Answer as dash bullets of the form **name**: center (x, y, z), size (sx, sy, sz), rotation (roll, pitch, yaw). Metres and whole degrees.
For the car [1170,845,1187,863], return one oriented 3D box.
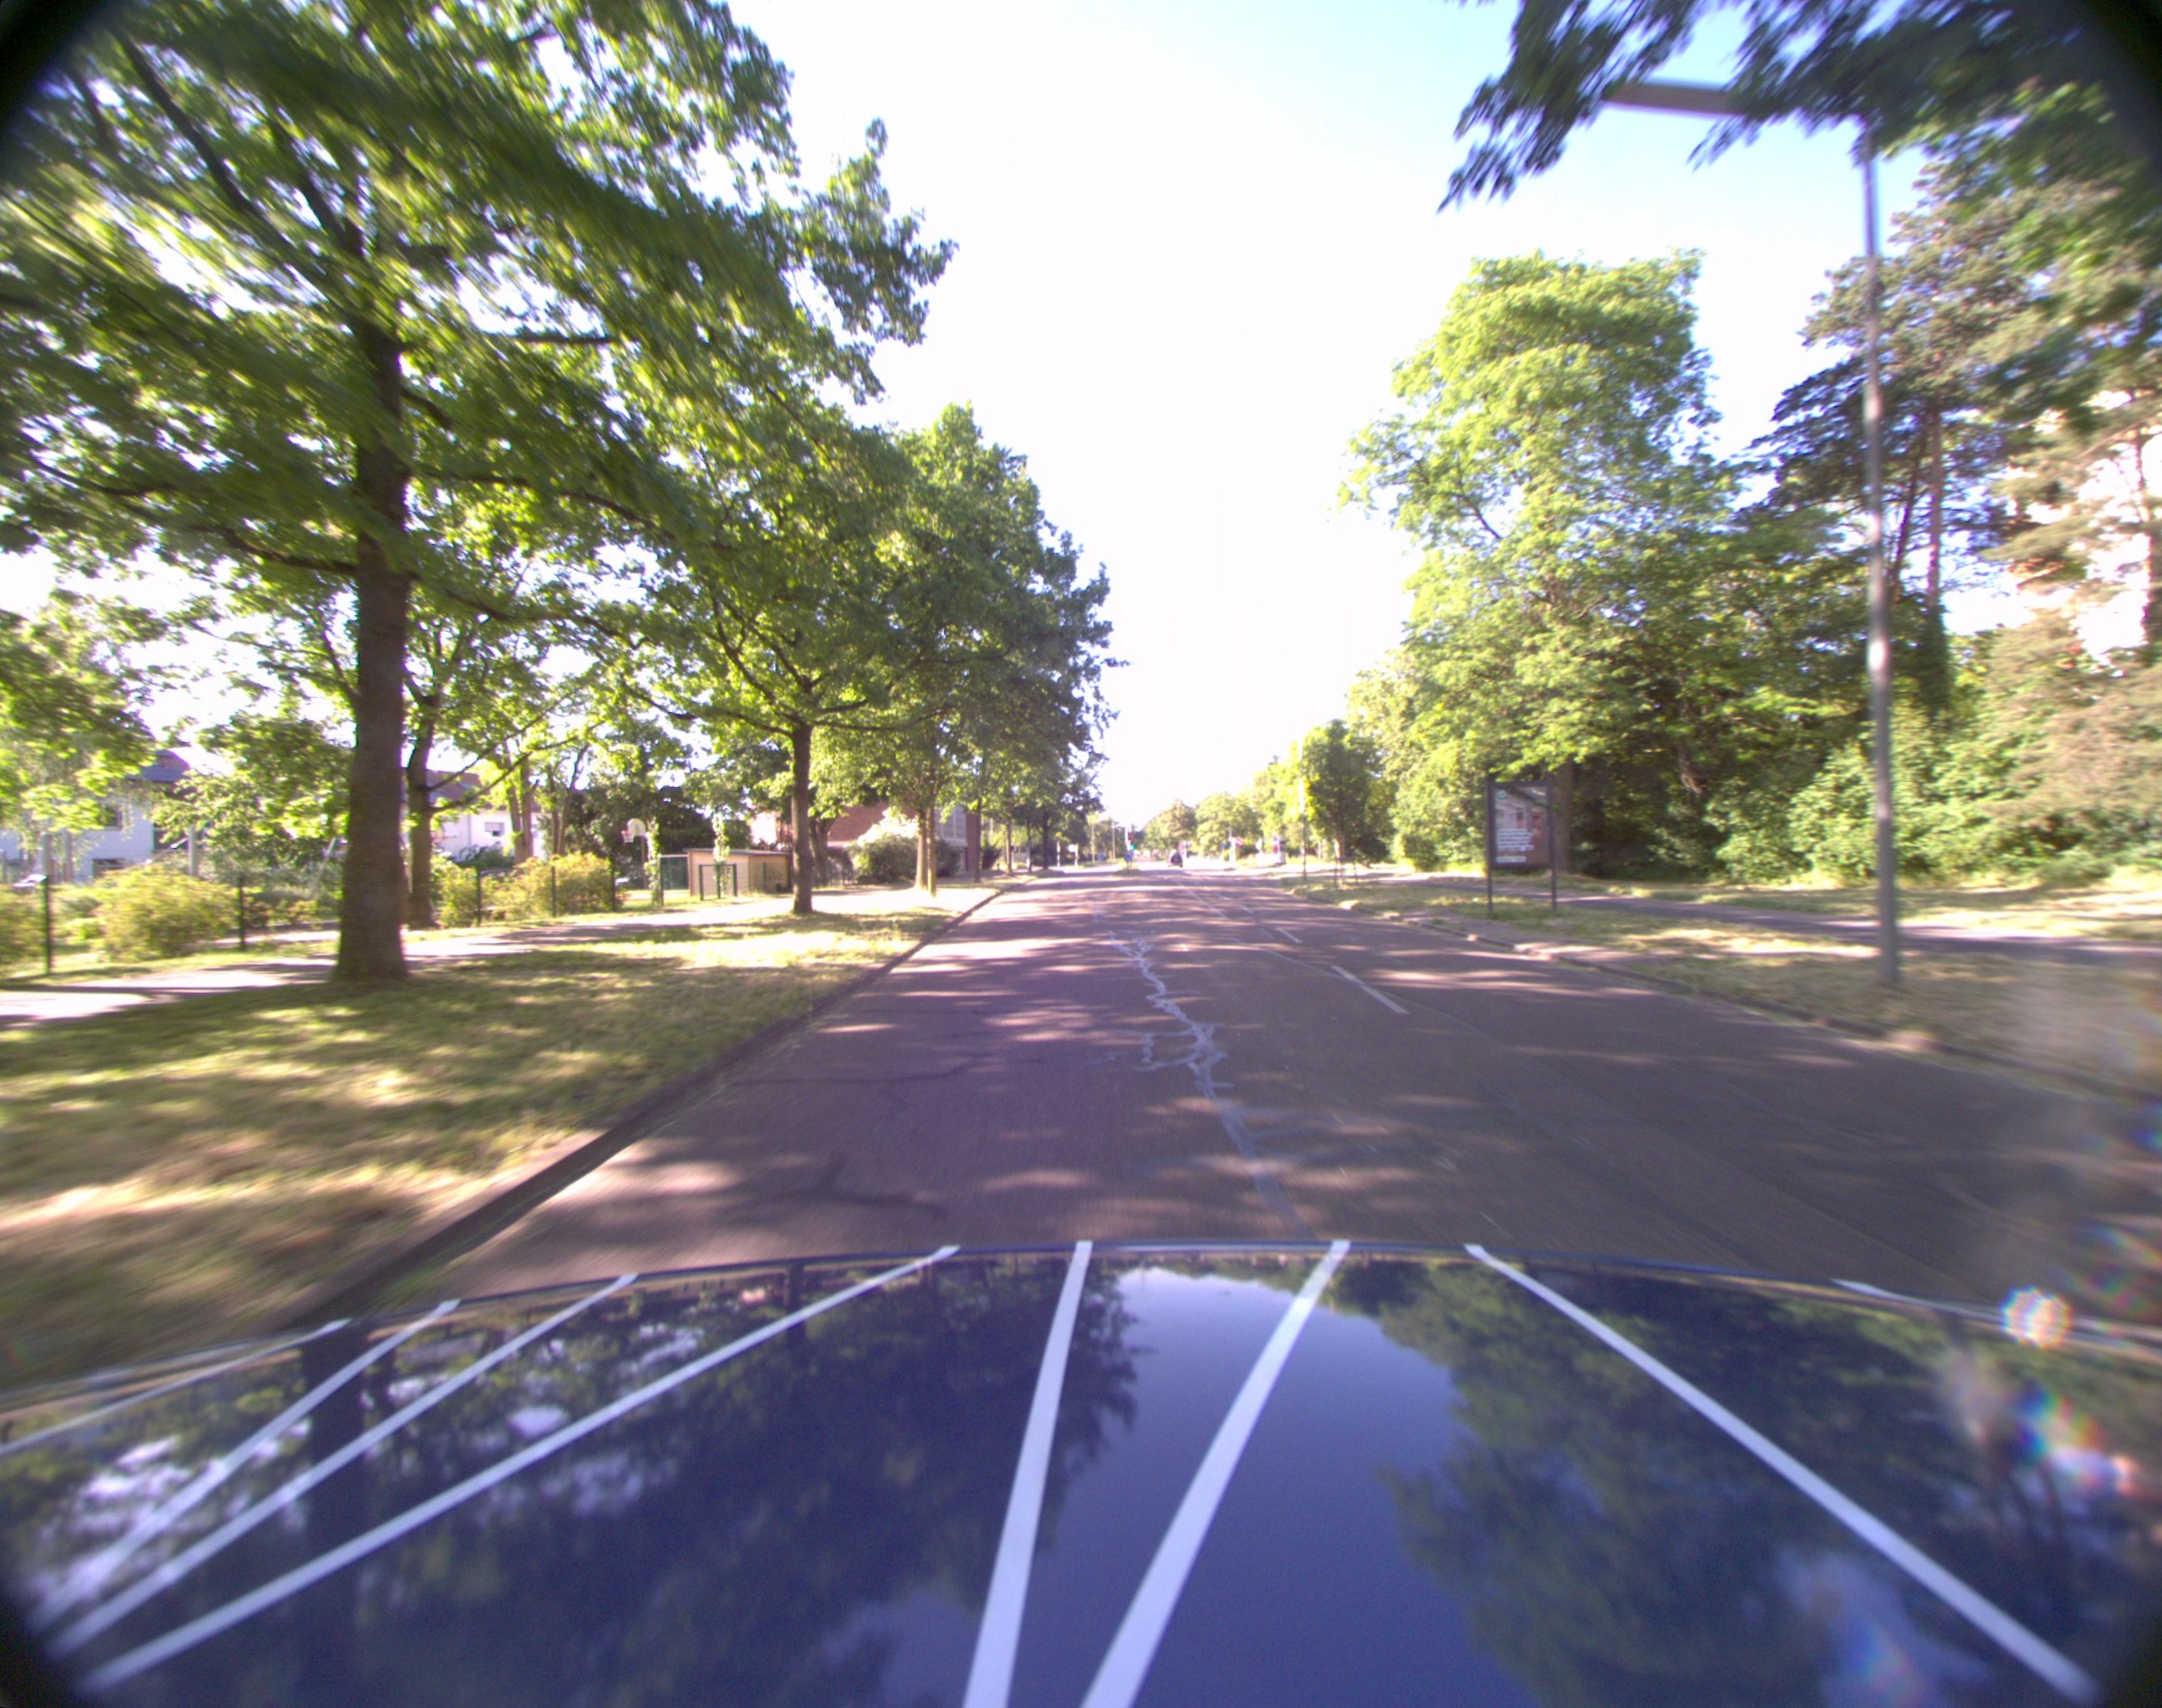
- **car**: center (12.057, -0.001, 94.119), size (1.904, 2.082, 3.642), rotation (1, 0, 3)
